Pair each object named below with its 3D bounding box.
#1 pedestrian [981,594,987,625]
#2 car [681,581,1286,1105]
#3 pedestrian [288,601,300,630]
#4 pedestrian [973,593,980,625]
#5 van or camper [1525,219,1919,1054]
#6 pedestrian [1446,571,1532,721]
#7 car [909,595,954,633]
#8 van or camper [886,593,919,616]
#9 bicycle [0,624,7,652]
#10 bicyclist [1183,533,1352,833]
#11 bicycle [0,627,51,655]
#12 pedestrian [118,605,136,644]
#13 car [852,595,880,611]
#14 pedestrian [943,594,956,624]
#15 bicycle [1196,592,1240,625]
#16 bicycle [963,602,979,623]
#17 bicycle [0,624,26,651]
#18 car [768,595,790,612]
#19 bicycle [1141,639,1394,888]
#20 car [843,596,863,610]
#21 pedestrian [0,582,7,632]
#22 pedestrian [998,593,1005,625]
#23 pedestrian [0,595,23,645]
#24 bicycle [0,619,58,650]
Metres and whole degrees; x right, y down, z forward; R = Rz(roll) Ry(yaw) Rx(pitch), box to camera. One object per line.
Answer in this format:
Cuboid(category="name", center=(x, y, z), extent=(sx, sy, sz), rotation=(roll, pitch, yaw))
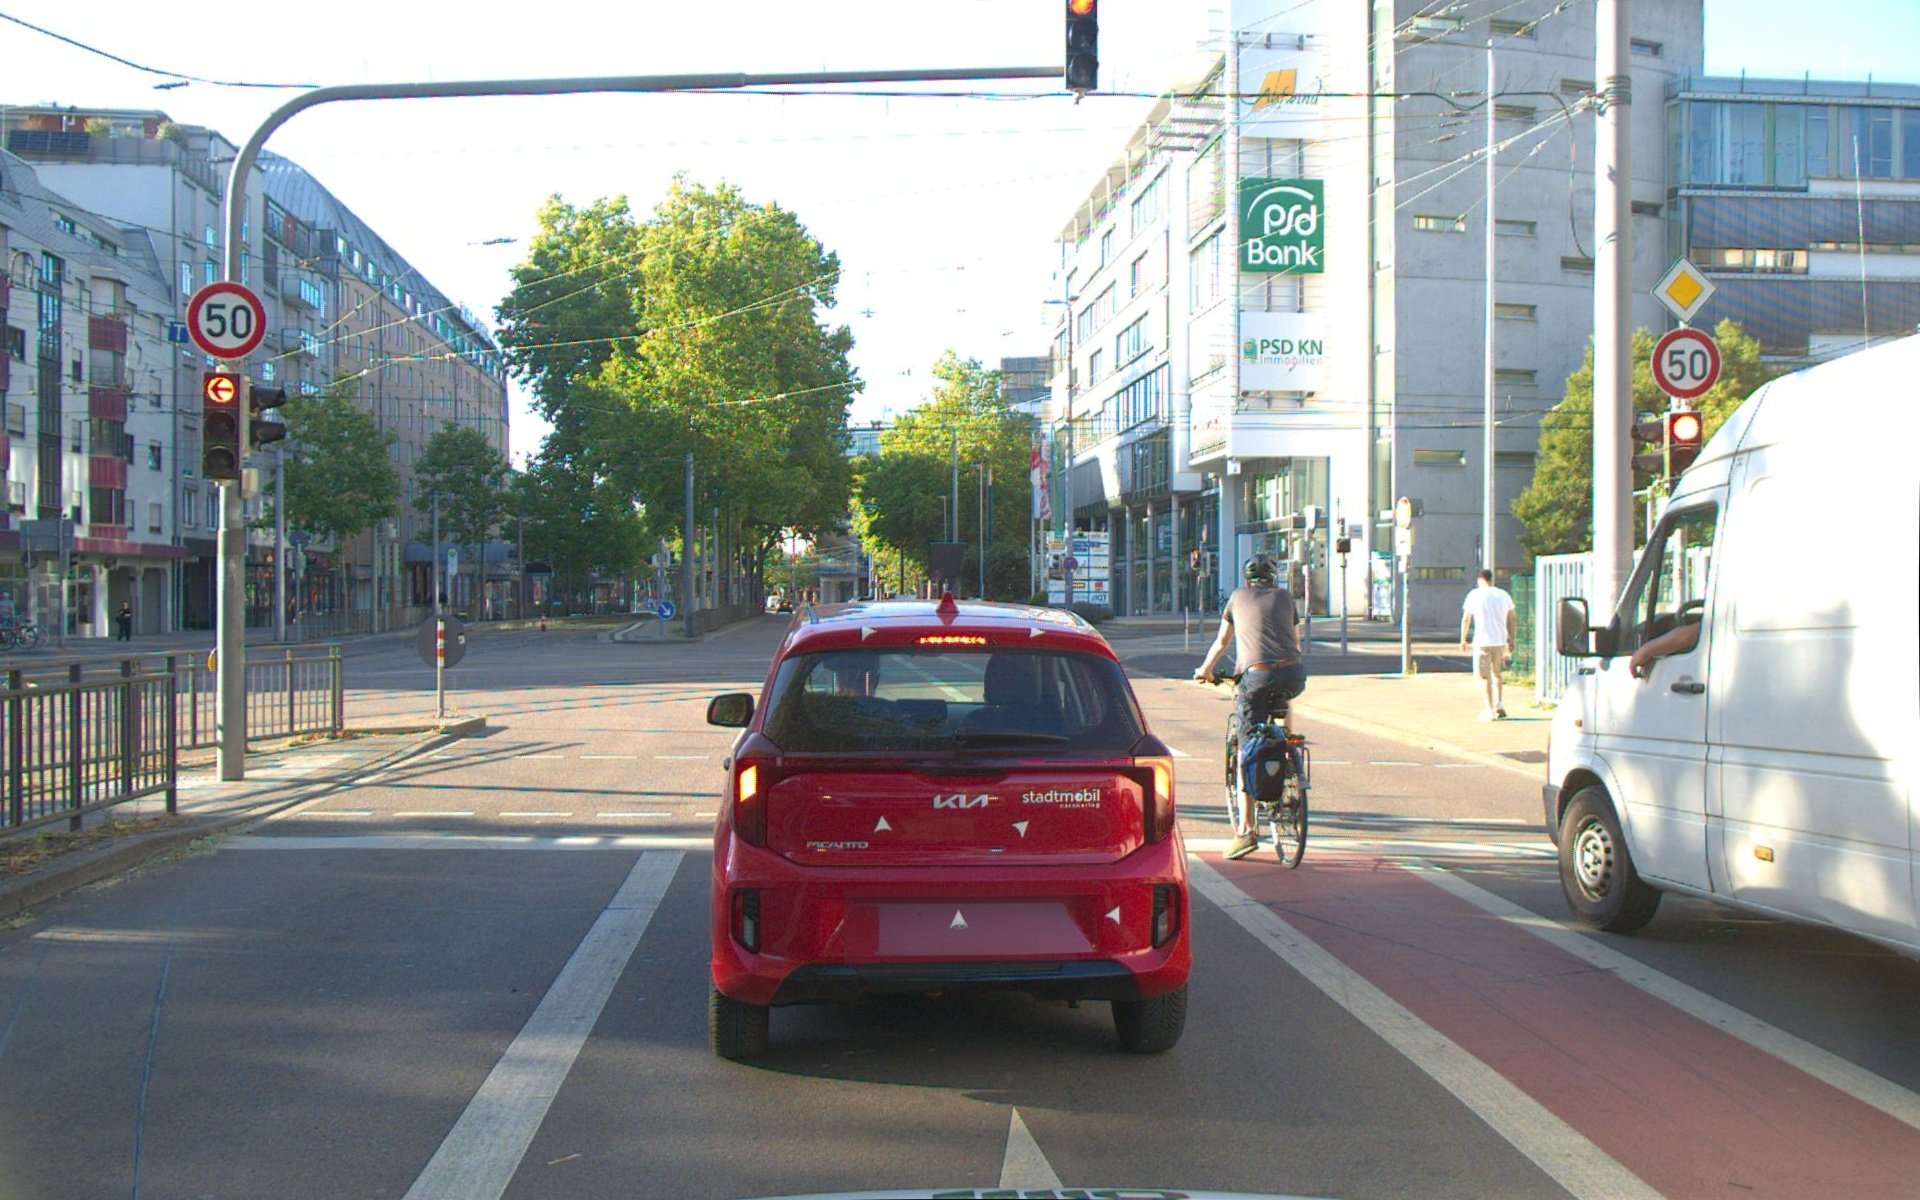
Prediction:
Cuboid(category="pedestrian", center=(1.236, 0.462, 85.014), extent=(0.288, 1.589, 0.355), rotation=(-1, 0, -3))
Cuboid(category="car", center=(-0.083, 0.697, 6.772), extent=(1.804, 1.515, 3.712), rotation=(0, 0, -5))
Cuboid(category="pedestrian", center=(-35.399, 0.818, 87.908), extent=(0.500, 1.484, 0.527), rotation=(-1, 0, -8))
Cuboid(category="pedestrian", center=(0.852, 0.460, 84.948), extent=(0.288, 1.589, 0.302), rotation=(-1, 0, -3))
Cuboid(category="van or camper", center=(4.320, 0.145, 5.476), extent=(2.224, 2.781, 6.340), rotation=(2, 0, -5))
Cuboid(category="pedestrian", center=(6.414, 0.543, 20.075), extent=(0.770, 1.779, 0.772), rotation=(-1, 0, -1))
Cuboid(category="car", center=(-1.277, 0.603, 73.049), extent=(1.806, 1.595, 4.271), rotation=(-1, 0, -3))
Cuboid(category="van or camper", center=(-4.586, 0.342, 132.028), extent=(2.105, 1.781, 4.423), rotation=(-1, 0, -8))
Cuboid(category="bicycle", center=(-29.784, 1.154, 49.432), extent=(2.129, 0.801, 0.639), rotation=(-1, 0, -9))
Cuboid(category="bicyclist", center=(1.809, 0.473, 9.801), extent=(0.730, 1.698, 0.743), rotation=(1, 0, -11))
Cuboid(category="bicycle", center=(-29.604, 1.279, 51.579), extent=(2.129, 0.838, 0.527), rotation=(-1, 0, -9))
Cuboid(category="pedestrian", center=(-31.914, 0.932, 63.385), extent=(0.502, 1.484, 0.525), rotation=(-1, 0, -18))
Cuboid(category="car", center=(-9.510, 0.313, 167.193), extent=(2.431, 1.555, 4.424), rotation=(-1, 0, -7))
Cuboid(category="pedestrian", center=(-0.618, 0.531, 98.849), extent=(0.728, 1.746, 0.748), rotation=(-1, 0, -3))
Cuboid(category="bicycle", center=(11.718, 0.364, 75.156), extent=(1.898, 1.468, 0.574), rotation=(-1, 0, -7))
Cuboid(category="bicycle", center=(0.608, 0.699, 94.122), extent=(0.776, 1.182, 2.498), rotation=(0, 0, -3))
Cuboid(category="bicycle", center=(-29.609, 1.156, 50.215), extent=(2.129, 0.801, 0.491), rotation=(-1, 0, -9))
Cuboid(category="car", center=(-19.129, 0.348, 174.934), extent=(2.020, 1.682, 3.483), rotation=(-1, 0, -11))
Cuboid(category="bicycle", center=(1.777, 0.904, 9.949), extent=(0.730, 1.245, 2.150), rotation=(1, 1, -11))
Cuboid(category="car", center=(-11.931, 0.331, 183.684), extent=(1.850, 1.555, 4.423), rotation=(-1, 0, -8))
Cuboid(category="pedestrian", center=(-33.338, 0.238, 57.154), extent=(0.500, 1.728, 0.527), rotation=(-1, 0, -8))
Cuboid(category="pedestrian", center=(2.108, 0.464, 84.131), extent=(0.288, 1.589, 0.314), rotation=(-1, 0, 0))
Cuboid(category="pedestrian", center=(-32.769, 0.689, 57.153), extent=(0.500, 1.728, 0.527), rotation=(-1, 0, -8))
Cuboid(category="bicycle", center=(-29.712, 1.091, 52.214), extent=(2.129, 0.967, 0.491), rotation=(-1, 0, -9))
